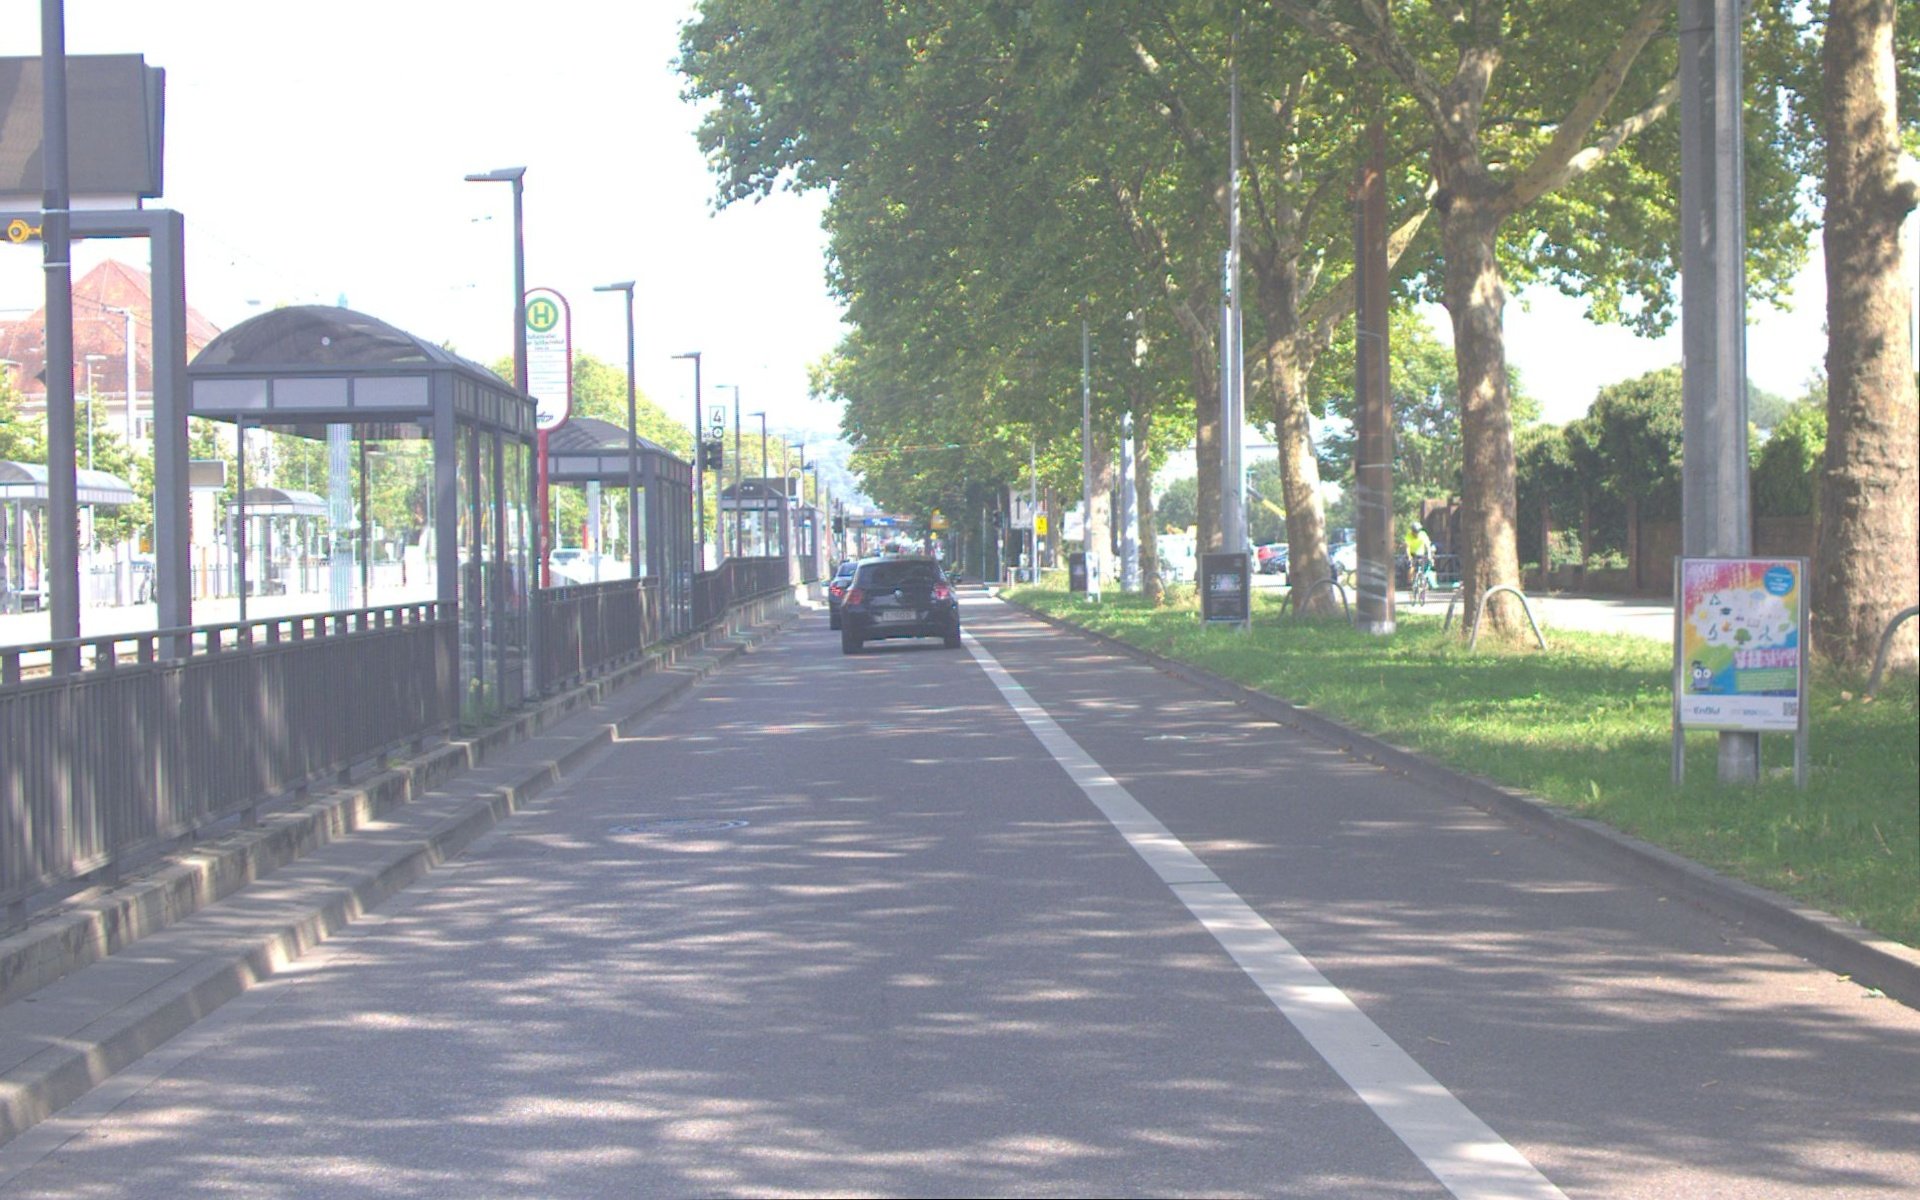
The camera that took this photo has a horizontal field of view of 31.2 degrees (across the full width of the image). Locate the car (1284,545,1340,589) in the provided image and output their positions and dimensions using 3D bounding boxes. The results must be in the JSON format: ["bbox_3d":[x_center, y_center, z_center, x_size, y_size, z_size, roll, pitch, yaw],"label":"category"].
[{"bbox_3d":[13.171,-1.255,128.934,1.607,1.570,3.797,-2,1,-1],"label":"car"}]

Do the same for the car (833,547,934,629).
[{"bbox_3d":[-1.642,-0.263,72.682,1.973,1.532,4.000,-4,1,-2],"label":"car"}]

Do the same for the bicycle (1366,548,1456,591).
[{"bbox_3d":[11.621,-0.782,88.570,2.173,1.073,0.743,-1,1,-2],"label":"bicycle"}]

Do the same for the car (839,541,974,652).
[{"bbox_3d":[-0.838,-0.076,52.480,1.907,1.532,4.000,-3,1,-2],"label":"car"}]

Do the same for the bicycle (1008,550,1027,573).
[{"bbox_3d":[2.611,-1.763,156.509,0.610,1.018,2.403,-1,1,-5],"label":"bicycle"}]

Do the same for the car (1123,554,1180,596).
[{"bbox_3d":[7.094,-0.947,127.682,1.728,1.443,4.551,-2,1,-1],"label":"car"}]

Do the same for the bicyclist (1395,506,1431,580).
[{"bbox_3d":[8.934,-1.124,67.803,0.548,1.448,0.842,-1,1,-1],"label":"bicyclist"}]

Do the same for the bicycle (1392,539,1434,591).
[{"bbox_3d":[8.934,-0.697,67.851,0.548,1.003,1.713,-1,1,-1],"label":"bicycle"}]

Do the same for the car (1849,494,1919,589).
[{"bbox_3d":[19.149,-1.147,64.211,4.521,1.728,1.910,-2,1,-3],"label":"car"}]

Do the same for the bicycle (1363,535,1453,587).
[{"bbox_3d":[12.127,-1.049,93.099,2.244,1.272,0.999,-3,0,-1],"label":"bicycle"}]

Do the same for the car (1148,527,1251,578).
[{"bbox_3d":[9.812,-1.954,141.038,4.103,1.912,1.847,-3,1,2],"label":"car"}]

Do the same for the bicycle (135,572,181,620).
[{"bbox_3d":[-19.418,-0.108,83.254,0.471,1.143,1.483,-1,0,14],"label":"bicycle"}]

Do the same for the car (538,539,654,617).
[{"bbox_3d":[-7.576,-0.481,71.865,1.993,1.554,4.000,-1,1,-1],"label":"car"}]

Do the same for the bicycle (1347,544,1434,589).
[{"bbox_3d":[11.466,-0.895,91.595,2.173,1.073,0.743,-4,0,3],"label":"bicycle"}]
